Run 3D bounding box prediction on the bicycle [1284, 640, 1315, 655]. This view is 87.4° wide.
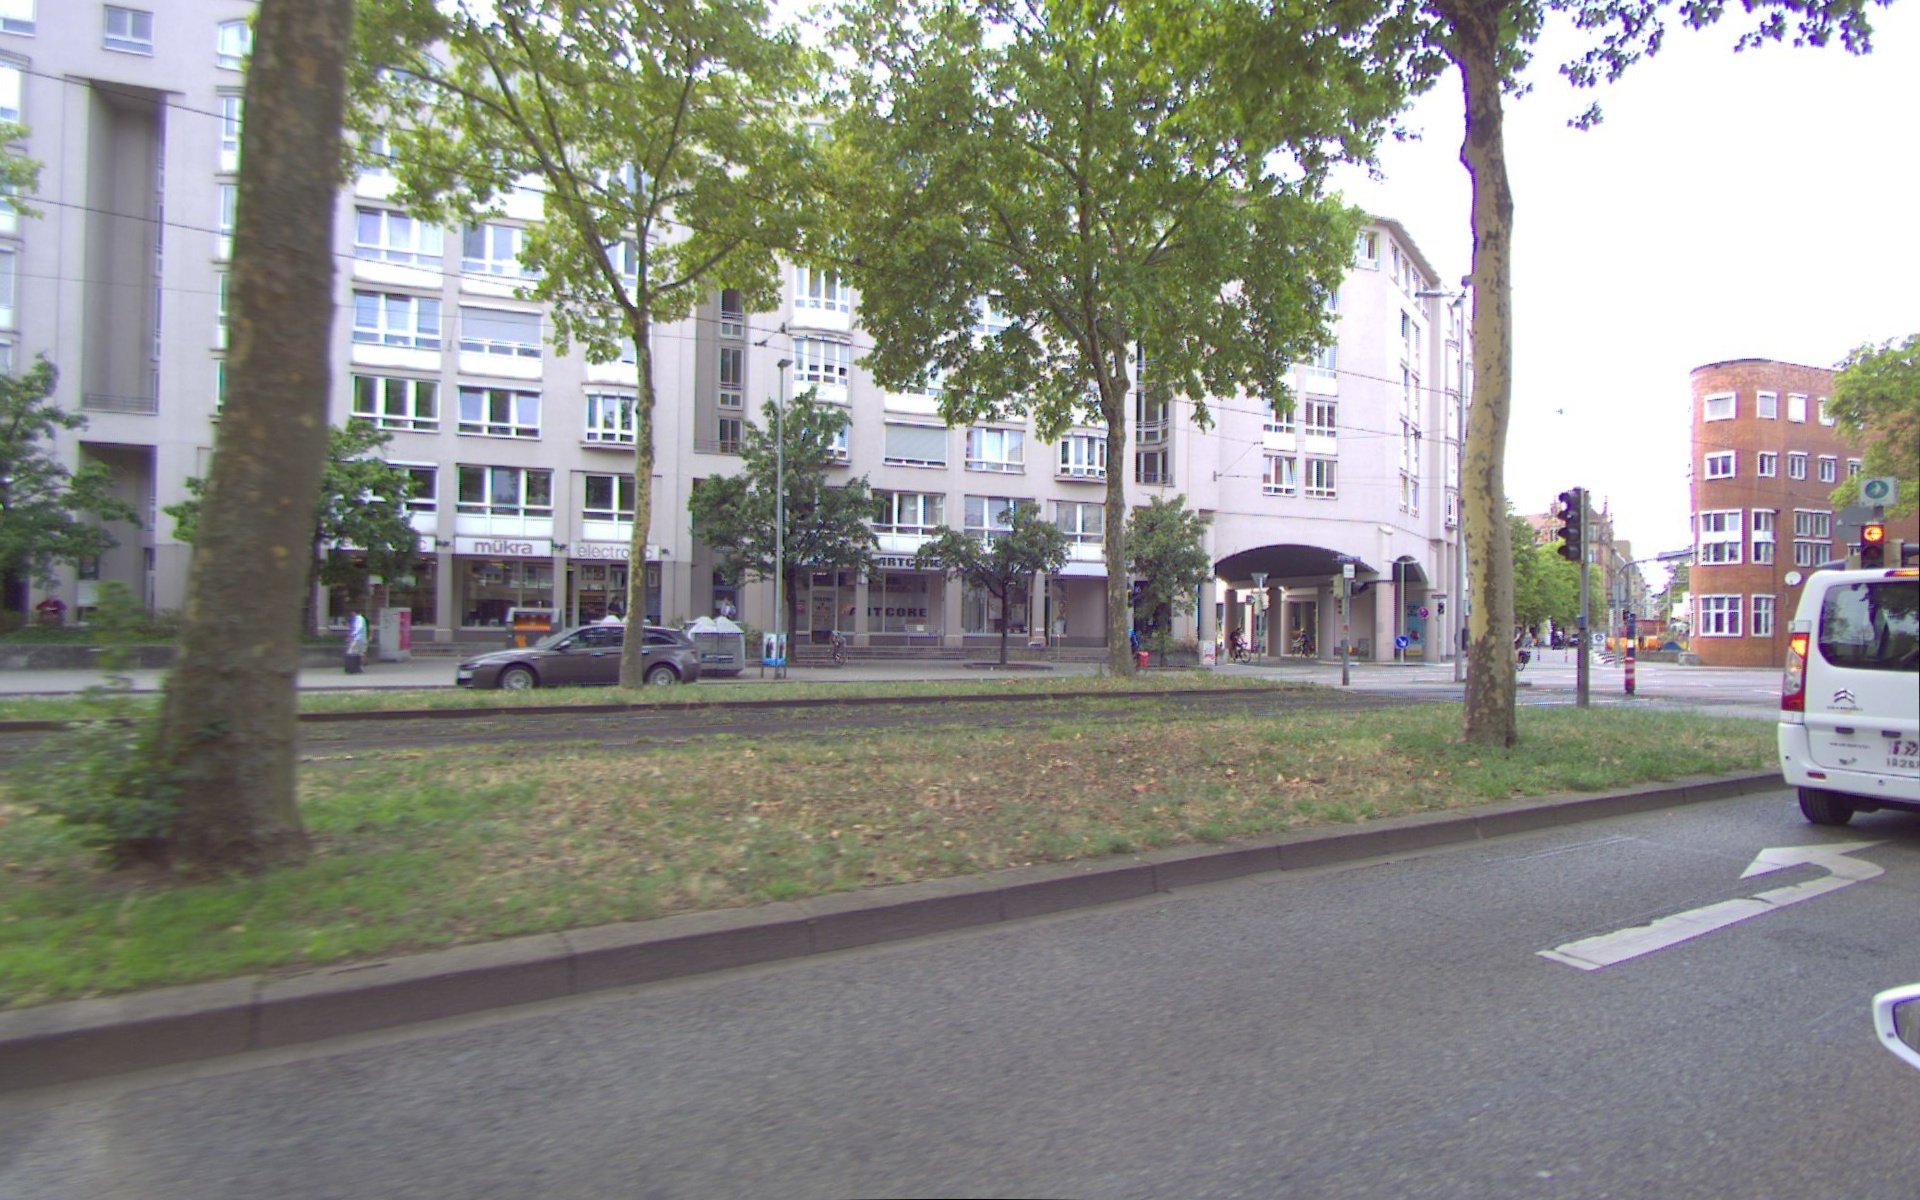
[{"bbox_3d":[19.640,2.743,58.167,0.570,0.847,1.977,1,-1,-22],"label":"bicycle"}]

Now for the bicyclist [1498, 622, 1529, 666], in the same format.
[{"bbox_3d":[23.710,1.870,42.997,1.067,1.872,0.664,1,-2,-26],"label":"bicyclist"}]

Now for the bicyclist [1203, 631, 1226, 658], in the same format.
[{"bbox_3d":[12.907,2.241,50.931,0.755,1.321,0.879,1,-1,-17],"label":"bicyclist"}]

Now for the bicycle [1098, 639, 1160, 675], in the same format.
[{"bbox_3d":[5.401,1.809,32.037,1.848,1.106,0.690,1,-1,-20],"label":"bicycle"}]

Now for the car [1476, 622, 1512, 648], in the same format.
[{"bbox_3d":[41.034,2.697,77.131,1.967,1.962,4.931,0,-2,34],"label":"car"}]

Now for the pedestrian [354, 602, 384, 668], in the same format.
[{"bbox_3d":[-15.648,0.921,26.613,0.618,1.727,0.551,1,-1,-26],"label":"pedestrian"}]

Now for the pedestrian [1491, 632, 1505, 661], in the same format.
[{"bbox_3d":[32.192,2.790,60.099,0.664,1.702,0.751,0,-1,32],"label":"pedestrian"}]

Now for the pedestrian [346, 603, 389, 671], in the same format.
[{"bbox_3d":[-15.367,0.949,26.061,0.873,1.727,0.550,1,-1,-26],"label":"pedestrian"}]

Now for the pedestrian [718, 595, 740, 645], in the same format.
[{"bbox_3d":[-8.540,0.749,37.143,0.682,1.833,0.768,1,-1,-21],"label":"pedestrian"}]

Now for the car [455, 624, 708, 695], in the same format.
[{"bbox_3d":[-7.472,1.145,19.993,4.483,1.261,1.720,2,-2,-32],"label":"car"}]

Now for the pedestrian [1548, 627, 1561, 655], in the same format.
[{"bbox_3d":[43.367,2.998,73.270,0.779,1.989,0.803,0,-1,35],"label":"pedestrian"}]

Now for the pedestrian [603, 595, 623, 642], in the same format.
[{"bbox_3d":[-12.735,0.675,36.826,0.650,1.694,0.635,1,-1,-22],"label":"pedestrian"}]

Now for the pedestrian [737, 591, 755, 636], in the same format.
[{"bbox_3d":[-7.829,0.513,36.781,0.540,1.627,0.569,1,-1,-22],"label":"pedestrian"}]

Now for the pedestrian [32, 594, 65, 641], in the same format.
[{"bbox_3d":[-26.769,0.516,29.509,0.546,1.340,0.457,1,-1,-19],"label":"pedestrian"}]

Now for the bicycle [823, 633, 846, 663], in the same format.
[{"bbox_3d":[-4.175,1.590,33.337,0.433,0.956,1.626,1,-1,-18],"label":"bicycle"}]

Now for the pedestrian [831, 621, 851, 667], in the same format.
[{"bbox_3d":[-4.073,1.506,34.317,0.527,1.550,0.511,1,-1,-28],"label":"pedestrian"}]

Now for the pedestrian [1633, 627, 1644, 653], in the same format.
[{"bbox_3d":[48.419,2.860,71.684,0.683,1.841,0.654,0,-1,33],"label":"pedestrian"}]

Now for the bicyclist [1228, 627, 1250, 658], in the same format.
[{"bbox_3d":[14.139,2.133,50.913,0.755,1.559,0.879,1,-1,-17],"label":"bicyclist"}]

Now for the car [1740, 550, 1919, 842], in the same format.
[{"bbox_3d":[8.487,0.687,8.042,4.899,1.951,1.922,1,-1,-31],"label":"car"}]

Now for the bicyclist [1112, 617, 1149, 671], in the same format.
[{"bbox_3d":[5.439,1.385,32.055,0.938,1.695,0.689,1,-1,-19],"label":"bicyclist"}]

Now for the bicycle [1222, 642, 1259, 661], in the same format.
[{"bbox_3d":[14.166,2.585,50.773,0.753,0.923,2.179,1,-2,-16],"label":"bicycle"}]

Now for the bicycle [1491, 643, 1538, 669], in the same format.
[{"bbox_3d":[23.750,2.380,43.010,2.180,1.107,0.675,1,-2,-26],"label":"bicycle"}]

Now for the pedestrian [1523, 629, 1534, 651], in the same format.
[{"bbox_3d":[44.487,3.124,78.548,0.683,1.693,0.829,0,-1,33],"label":"pedestrian"}]

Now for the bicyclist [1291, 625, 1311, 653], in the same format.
[{"bbox_3d":[19.703,2.251,58.009,0.574,1.583,1.029,1,-2,-22],"label":"bicyclist"}]
